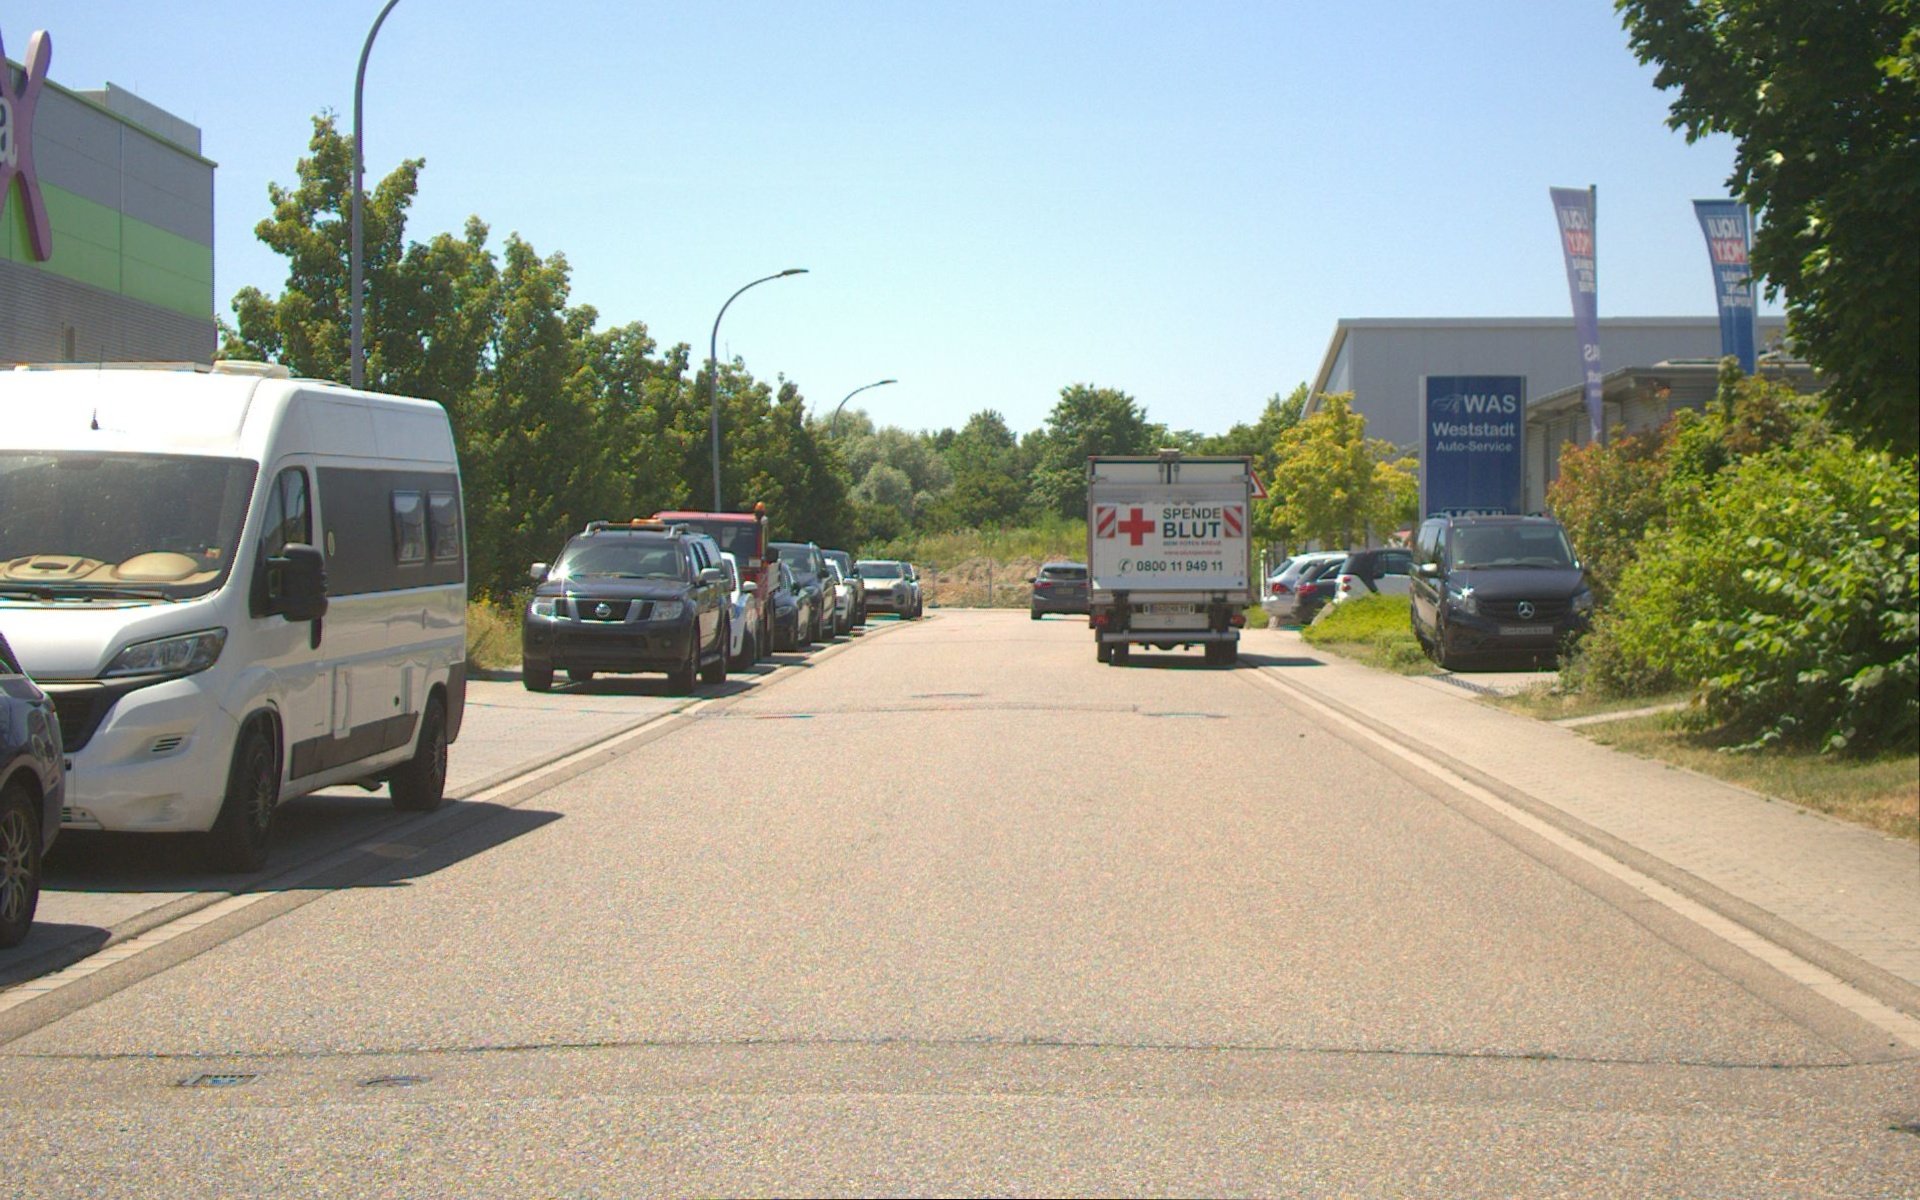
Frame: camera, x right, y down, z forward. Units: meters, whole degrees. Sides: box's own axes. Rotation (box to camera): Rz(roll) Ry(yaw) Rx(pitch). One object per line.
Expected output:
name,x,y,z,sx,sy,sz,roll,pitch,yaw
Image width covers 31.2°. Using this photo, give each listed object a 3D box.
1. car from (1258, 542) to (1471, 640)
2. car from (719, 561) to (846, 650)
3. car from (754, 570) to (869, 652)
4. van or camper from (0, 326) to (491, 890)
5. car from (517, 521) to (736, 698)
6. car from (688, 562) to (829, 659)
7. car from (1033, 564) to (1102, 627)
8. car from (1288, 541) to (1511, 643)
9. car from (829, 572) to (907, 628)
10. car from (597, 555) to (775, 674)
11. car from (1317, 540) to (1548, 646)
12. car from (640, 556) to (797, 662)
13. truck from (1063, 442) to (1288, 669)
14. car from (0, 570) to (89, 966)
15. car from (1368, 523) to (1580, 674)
car,7.896,-0.176,67.267,3.875,1.744,1.752,2,0,-1
car,-3.128,0.070,61.372,1.799,1.482,4.252,1,1,3
car,-2.860,0.185,66.957,1.799,1.482,4.252,1,1,3
van or camper,-4.201,0.006,18.396,2.079,2.474,6.130,2,0,4
car,-3.672,0.071,38.531,1.799,1.842,4.252,1,1,3
car,-3.238,0.140,55.866,1.799,1.482,4.252,1,1,3
car,2.911,-0.131,93.986,1.789,1.618,3.809,2,0,1
car,8.224,-0.151,64.553,3.875,1.744,1.752,2,0,-1
car,-2.541,-0.024,95.859,1.799,1.482,4.252,1,1,3
car,-3.613,0.157,46.016,1.799,1.482,4.252,1,1,3
car,8.580,-0.129,62.620,3.875,1.744,1.752,2,0,-1
car,-3.553,0.106,51.294,1.799,1.482,4.252,1,1,3
truck,3.018,-0.609,49.832,2.933,2.964,6.419,2,0,2
car,-4.478,0.626,11.570,1.799,1.444,4.252,1,1,3
car,6.388,-0.028,43.177,1.993,1.797,4.140,0,0,-1
